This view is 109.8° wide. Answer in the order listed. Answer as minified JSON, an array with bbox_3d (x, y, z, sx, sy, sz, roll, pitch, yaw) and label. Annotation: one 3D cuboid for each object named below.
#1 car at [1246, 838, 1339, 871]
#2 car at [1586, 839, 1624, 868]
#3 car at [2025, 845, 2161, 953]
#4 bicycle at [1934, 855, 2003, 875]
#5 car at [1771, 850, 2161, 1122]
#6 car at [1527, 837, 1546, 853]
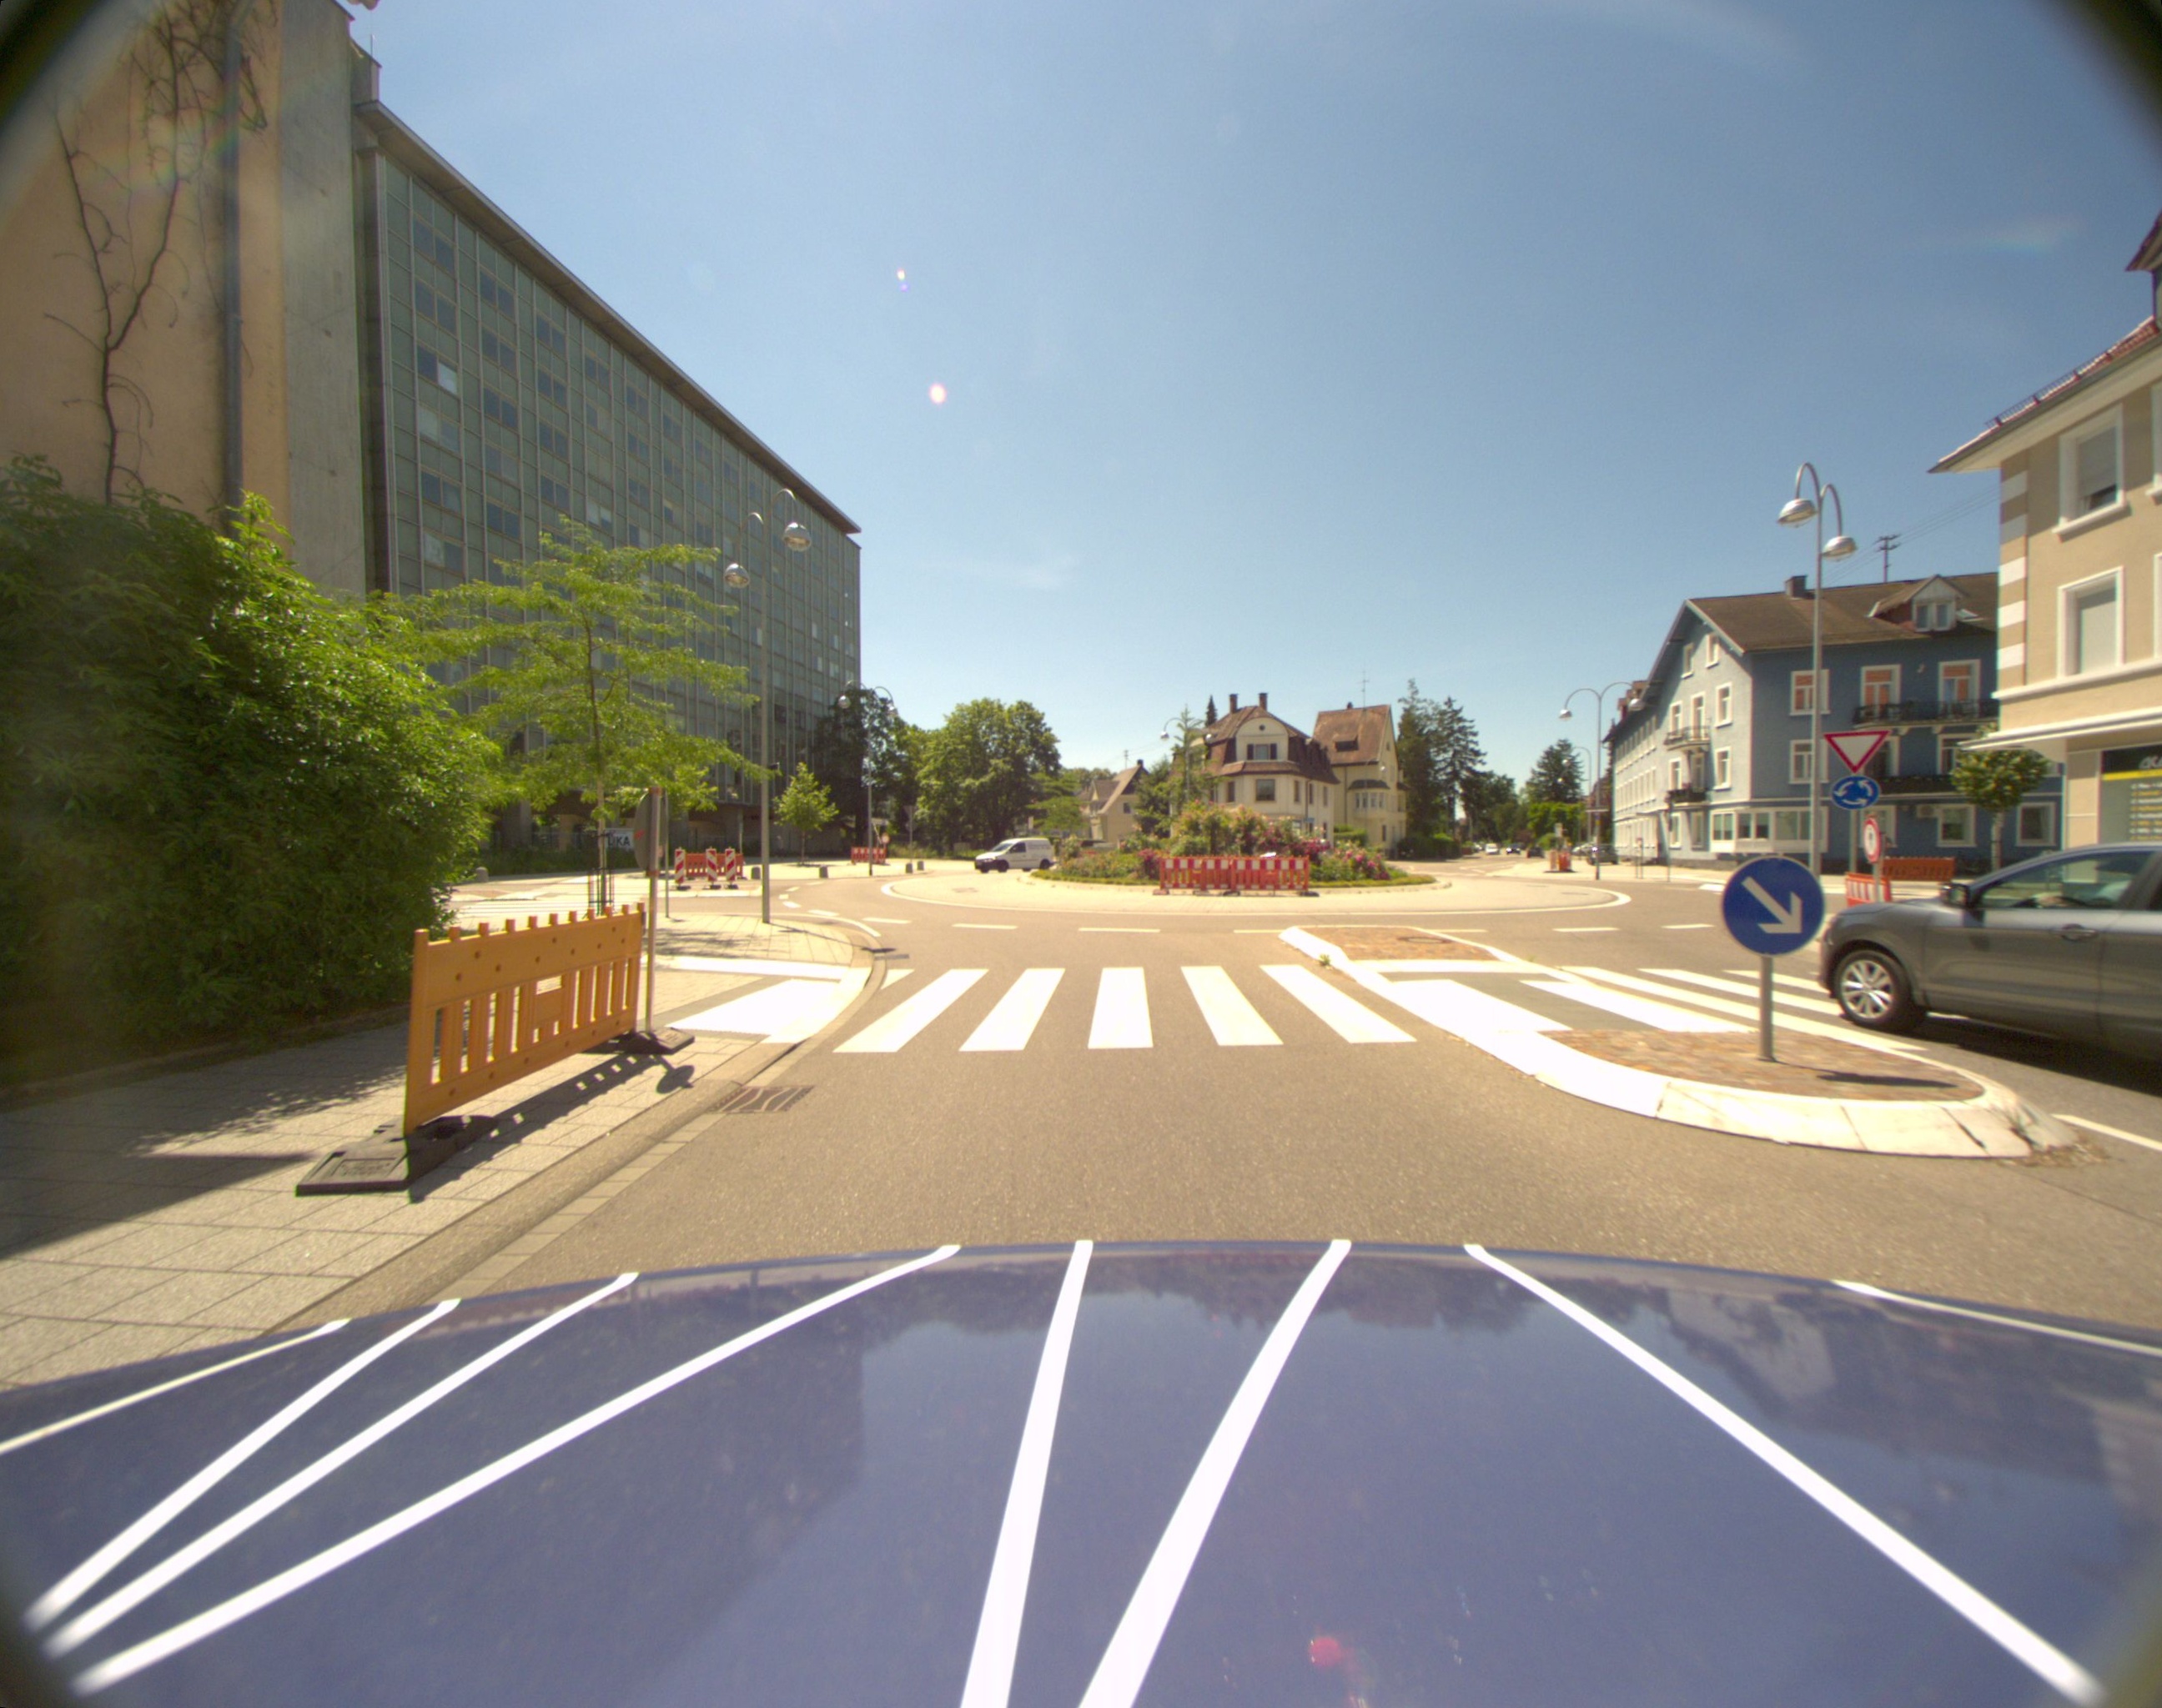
[{"bbox_3d":[11.627,-0.024,41.827,4.554,1.727,2.004,1,2,33],"label":"car"},{"bbox_3d":[37.782,-0.097,54.887,1.994,1.838,4.006,0,4,31],"label":"car"},{"bbox_3d":[15.884,0.632,9.978,1.797,1.494,4.951,-1,0,15],"label":"car"},{"bbox_3d":[41.527,0.518,35.582,2.082,0.906,0.613,0,1,16],"label":"bicycle"},{"bbox_3d":[7.063,0.780,4.746,1.799,1.481,4.391,2,2,6],"label":"car"},{"bbox_3d":[56.706,-1.140,94.534,1.994,1.838,4.006,0,4,31],"label":"car"}]
